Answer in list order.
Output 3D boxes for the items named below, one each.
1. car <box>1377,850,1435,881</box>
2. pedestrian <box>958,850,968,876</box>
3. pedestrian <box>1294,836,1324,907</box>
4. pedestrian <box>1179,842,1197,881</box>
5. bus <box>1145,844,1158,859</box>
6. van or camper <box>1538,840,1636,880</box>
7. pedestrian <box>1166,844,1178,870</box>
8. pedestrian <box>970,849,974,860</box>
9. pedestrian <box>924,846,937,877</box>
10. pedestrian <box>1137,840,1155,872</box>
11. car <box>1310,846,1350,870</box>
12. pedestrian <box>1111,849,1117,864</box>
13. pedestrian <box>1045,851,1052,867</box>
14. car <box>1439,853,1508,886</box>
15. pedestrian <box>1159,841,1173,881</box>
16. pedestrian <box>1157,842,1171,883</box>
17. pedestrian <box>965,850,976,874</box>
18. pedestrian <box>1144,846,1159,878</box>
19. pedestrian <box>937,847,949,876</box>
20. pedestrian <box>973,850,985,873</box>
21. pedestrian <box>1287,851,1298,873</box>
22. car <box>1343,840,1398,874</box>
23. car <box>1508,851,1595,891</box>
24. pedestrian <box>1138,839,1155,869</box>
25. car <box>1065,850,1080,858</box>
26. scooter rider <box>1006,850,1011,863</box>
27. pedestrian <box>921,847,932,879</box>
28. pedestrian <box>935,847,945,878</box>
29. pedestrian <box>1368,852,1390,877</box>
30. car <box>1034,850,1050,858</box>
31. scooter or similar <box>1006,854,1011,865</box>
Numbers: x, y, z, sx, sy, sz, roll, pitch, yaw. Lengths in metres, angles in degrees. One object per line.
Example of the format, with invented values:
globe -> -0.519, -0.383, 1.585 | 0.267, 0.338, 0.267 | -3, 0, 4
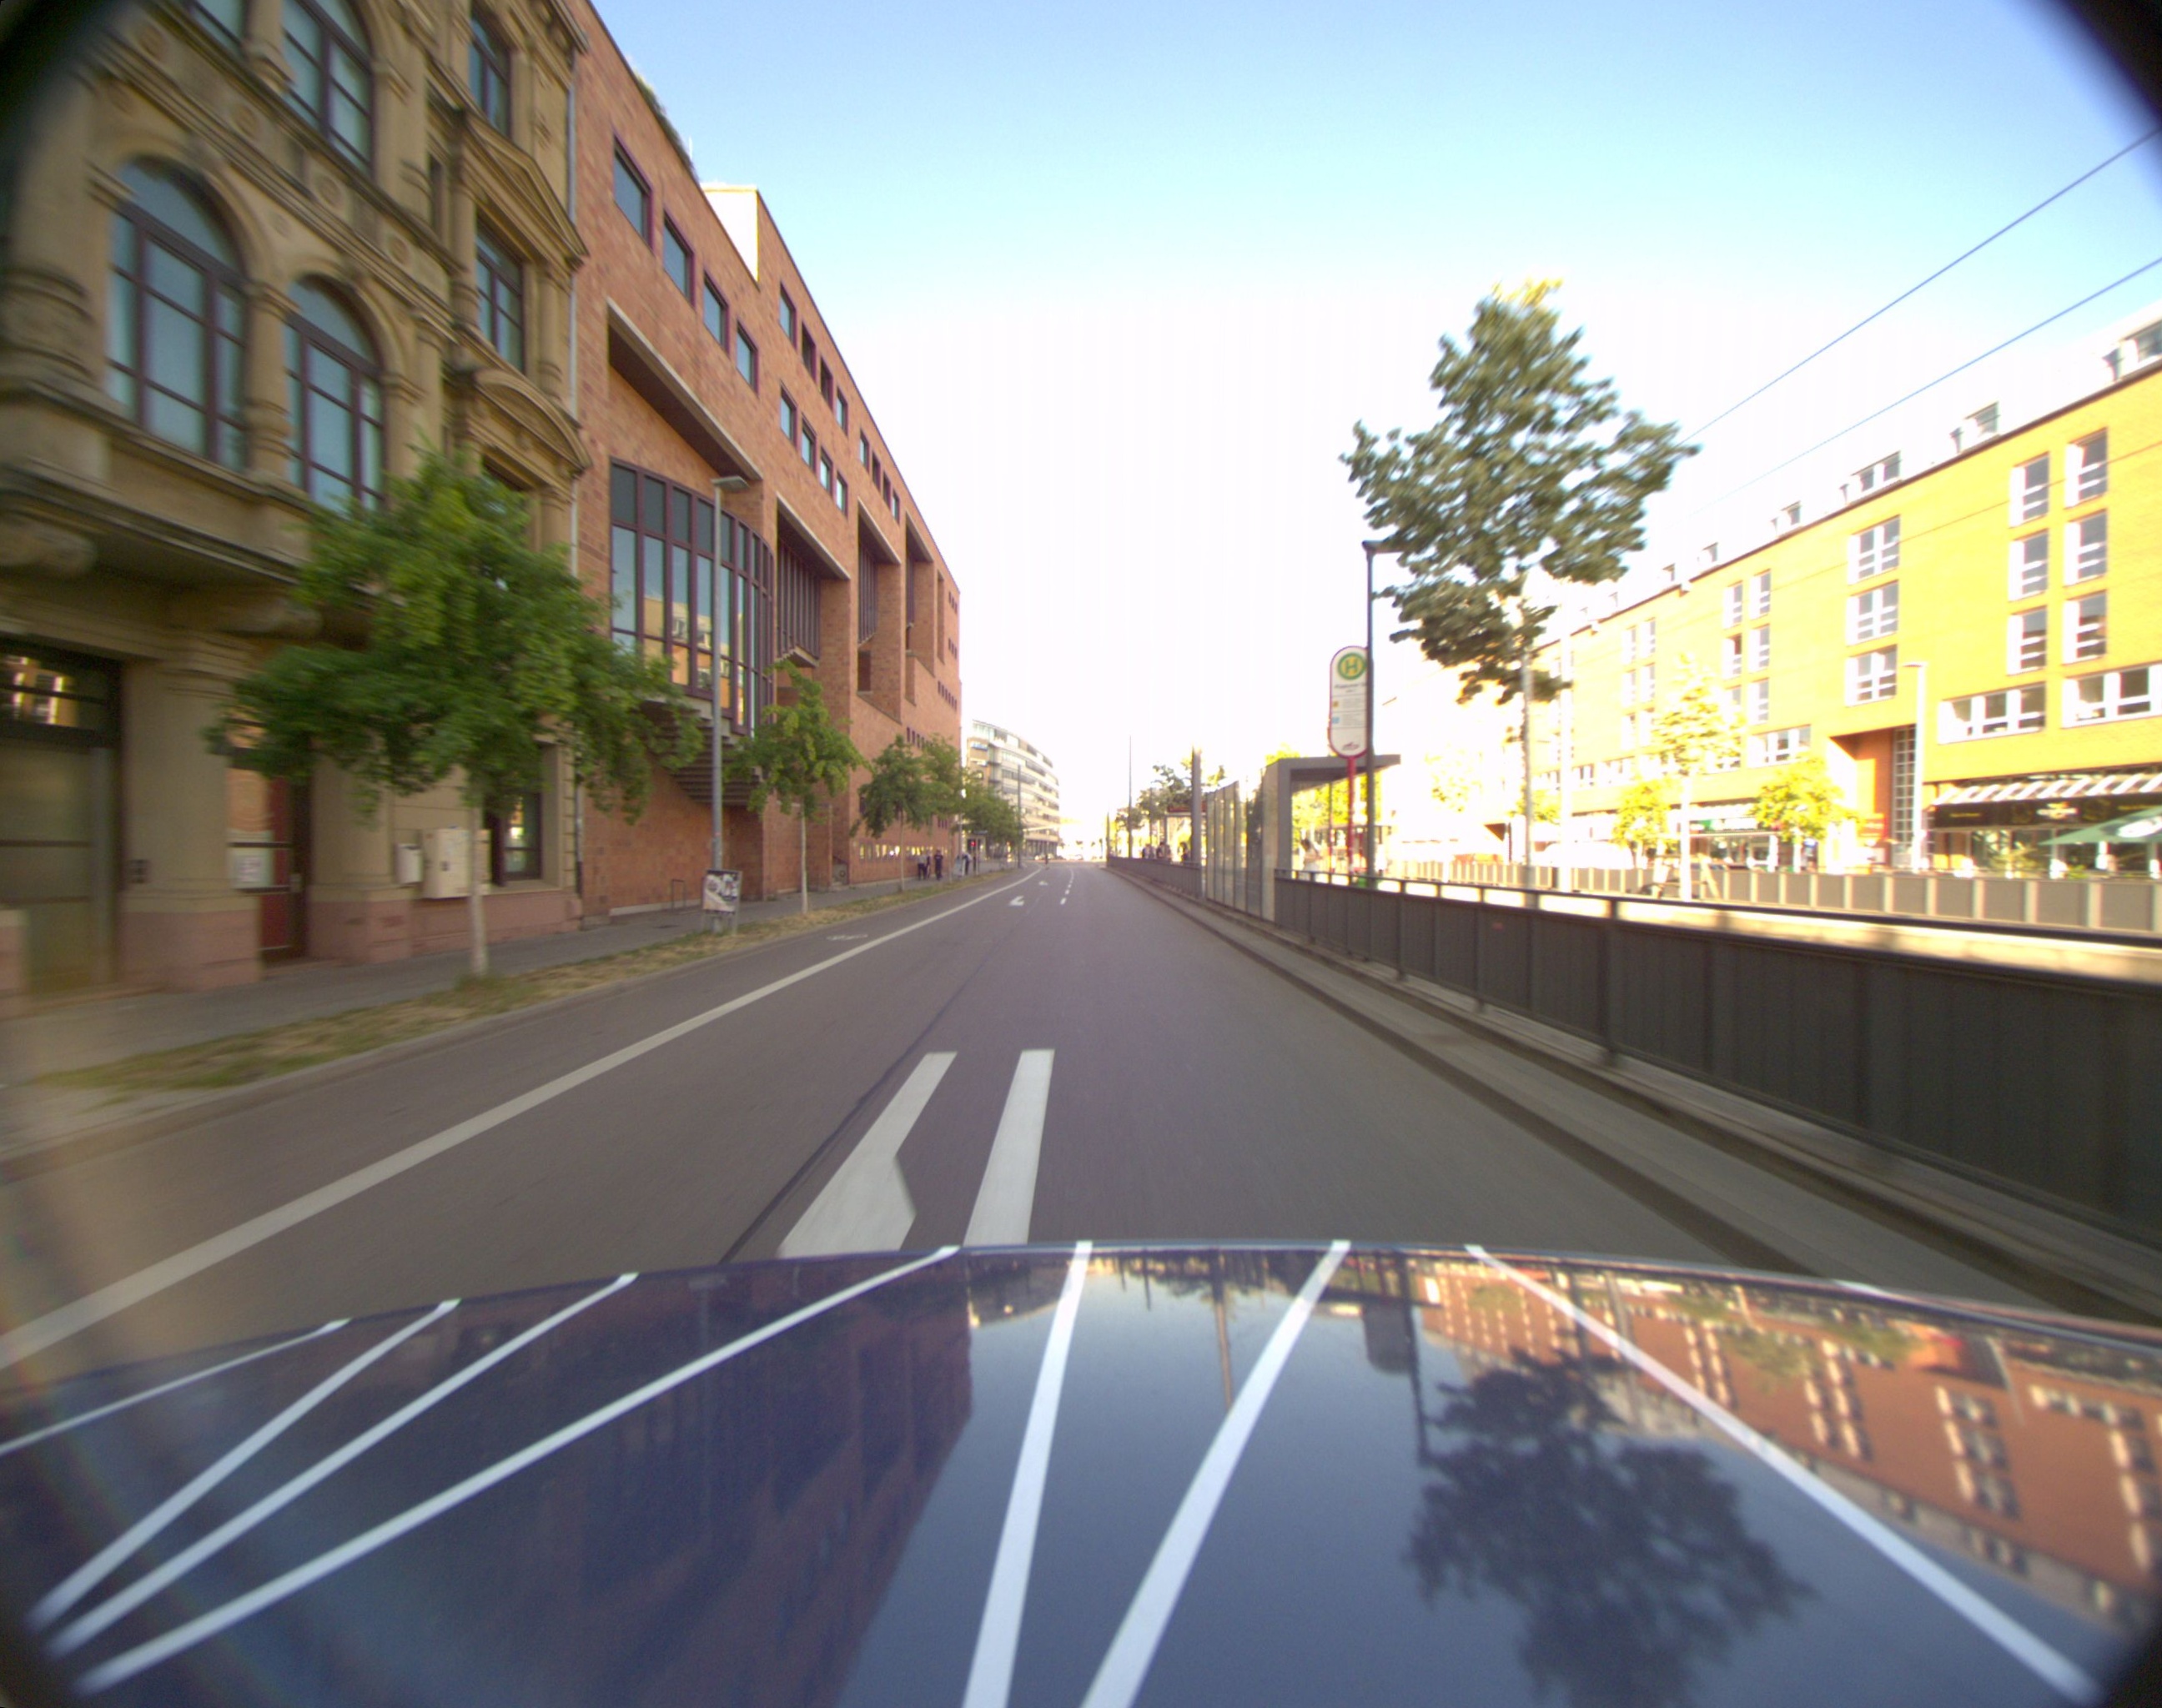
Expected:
car -> 20.956, 0.730, 49.206 | 1.891, 1.855, 4.316 | 0, 0, 0
pedestrian -> -8.034, 0.601, 51.880 | 0.420, 1.746, 0.539 | 1, 1, 44
pedestrian -> 4.442, 0.333, 14.809 | 0.430, 1.377, 0.407 | -1, 1, -11
pedestrian -> 4.705, 0.318, 33.389 | 0.721, 1.722, 0.651 | 0, 1, 0
bus -> 16.712, -0.547, 179.977 | 2.723, 3.388, 9.674 | 0, -1, 7
van or camper -> 28.840, 0.412, 43.588 | 1.998, 2.156, 5.618 | 0, -1, 2
pedestrian -> 5.139, 0.183, 42.953 | 0.683, 1.475, 0.829 | 0, 1, 8
pedestrian -> -18.754, 0.038, 130.725 | 0.547, 1.813, 0.374 | 0, 1, -13
pedestrian -> -8.662, 0.442, 43.788 | 0.537, 1.746, 0.696 | 0, 1, 11
pedestrian -> 3.470, 0.100, 40.628 | 0.889, 1.662, 1.096 | 0, 1, 7
car -> 24.373, 0.390, 74.509 | 2.084, 2.276, 5.263 | 0, 1, -1
pedestrian -> 3.245, 0.261, 75.681 | 0.490, 1.530, 0.552 | 0, 1, 15
pedestrian -> -3.354, 0.523, 78.902 | 0.624, 1.692, 0.749 | 0, 1, -6
car -> 23.682, 0.908, 46.019 | 1.891, 1.855, 4.316 | 0, 0, 0
pedestrian -> 3.720, 0.311, 33.237 | 0.506, 1.722, 0.651 | 0, 1, 0
pedestrian -> 3.405, 0.355, 31.174 | 0.506, 1.669, 0.651 | 0, 1, 0
pedestrian -> -7.868, 0.563, 54.136 | 0.574, 1.703, 0.639 | 0, 1, -30
pedestrian -> 3.430, 0.379, 36.974 | 0.674, 1.553, 0.906 | 0, 1, 0
pedestrian -> -8.426, 0.436, 46.429 | 0.735, 1.746, 0.695 | 0, 1, -8
pedestrian -> -7.335, 0.532, 54.745 | 0.519, 1.596, 0.702 | -1, 1, -40
pedestrian -> 16.165, 0.598, 58.137 | 0.677, 1.674, 0.577 | 1, 1, 34
car -> 20.917, 0.203, 55.125 | 2.051, 2.344, 4.919 | 0, 0, 0
car -> 23.586, 0.832, 38.284 | 1.890, 1.855, 4.317 | 0, 0, 3
pedestrian -> 3.748, 0.001, 43.488 | 0.889, 1.662, 0.672 | 0, 1, 7
car -> -1.628, 0.019, 153.298 | 1.901, 1.611, 4.177 | 0, 0, 15
scooter rider -> -8.448, 0.264, 88.965 | 0.508, 1.452, 0.721 | 0, 1, -9
pedestrian -> -8.626, 0.505, 42.374 | 0.538, 1.746, 0.421 | 0, 1, -21
pedestrian -> -7.937, 0.460, 42.770 | 0.538, 1.746, 0.464 | 0, 1, -17
pedestrian -> 14.644, 0.514, 37.345 | 0.674, 1.183, 0.906 | 0, 1, 0
car -> -7.688, -0.047, 150.447 | 1.901, 1.611, 4.177 | 0, 0, 15
scooter or similar -> -8.484, 0.646, 89.070 | 0.529, 1.310, 1.131 | 0, 1, -8
